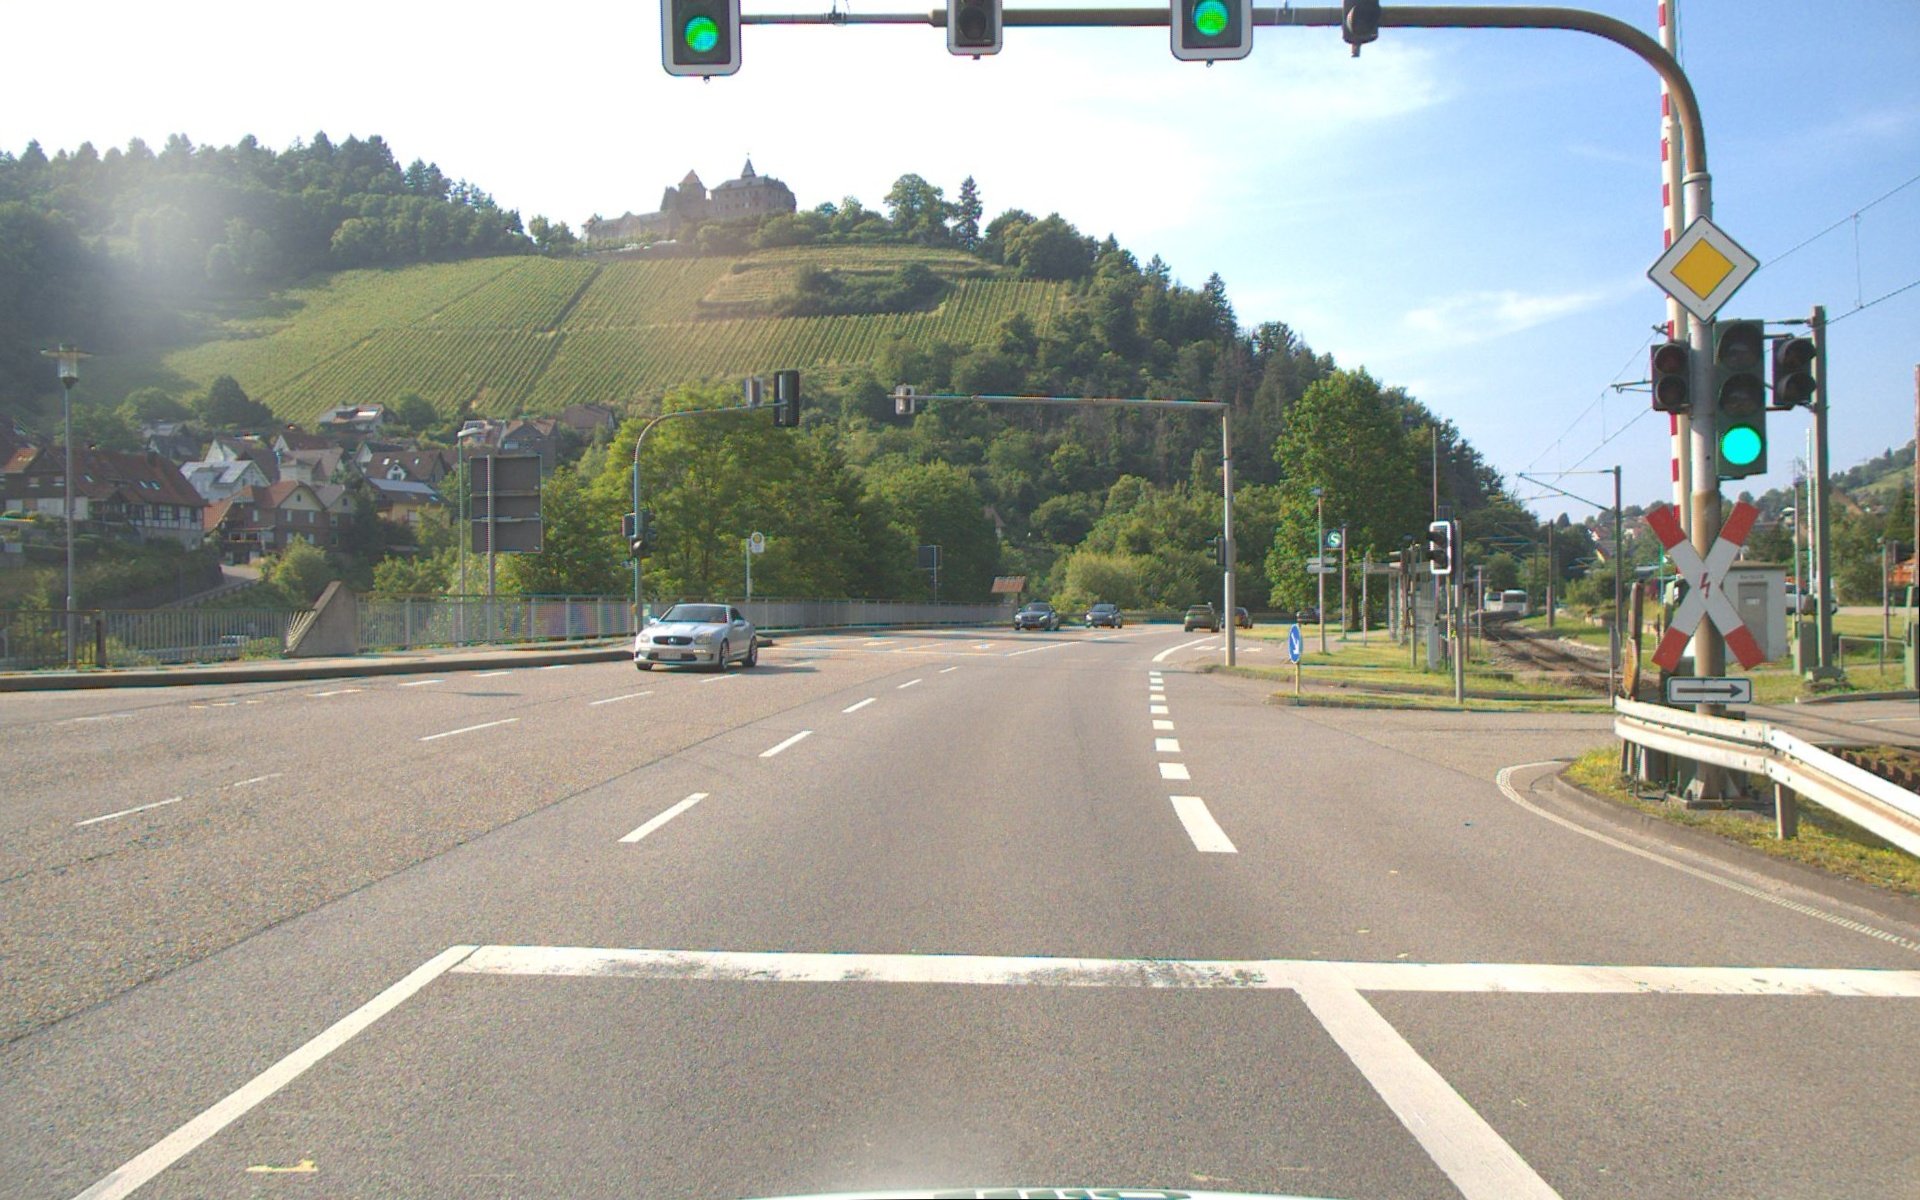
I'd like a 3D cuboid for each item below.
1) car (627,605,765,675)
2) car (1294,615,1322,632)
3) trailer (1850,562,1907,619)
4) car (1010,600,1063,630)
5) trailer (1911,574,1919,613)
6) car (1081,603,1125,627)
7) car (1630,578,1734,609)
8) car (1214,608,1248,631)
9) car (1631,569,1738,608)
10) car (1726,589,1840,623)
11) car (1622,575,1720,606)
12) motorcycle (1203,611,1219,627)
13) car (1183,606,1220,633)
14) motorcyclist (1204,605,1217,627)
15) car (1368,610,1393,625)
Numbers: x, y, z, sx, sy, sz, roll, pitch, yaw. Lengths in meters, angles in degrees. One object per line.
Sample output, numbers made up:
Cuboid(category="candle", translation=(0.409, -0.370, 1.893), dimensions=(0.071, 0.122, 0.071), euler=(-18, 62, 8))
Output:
Cuboid(category="car", translation=(-5.095, 0.740, 32.442), dimensions=(1.610, 1.253, 4.097), euler=(0, 0, 7))
Cuboid(category="car", translation=(30.741, 2.064, 146.022), dimensions=(1.770, 1.478, 3.646), euler=(-2, -1, 23))
Cuboid(category="trailer", translation=(66.415, -0.671, 119.522), dimensions=(2.563, 3.962, 7.703), euler=(-2, -1, 36))
Cuboid(category="car", translation=(3.959, 0.762, 84.809), dimensions=(1.733, 1.401, 4.647), euler=(2, 0, 15))
Cuboid(category="trailer", translation=(56.683, -0.429, 94.725), dimensions=(3.630, 2.228, 1.811), euler=(-2, -1, 36))
Cuboid(category="car", translation=(8.906, 0.923, 102.907), dimensions=(1.747, 1.505, 4.756), euler=(0, 0, 17))
Cuboid(category="car", translation=(38.343, -0.347, 88.013), dimensions=(4.846, 1.615, 2.142), euler=(0, 0, 17))
Cuboid(category="car", translation=(18.576, 1.312, 113.302), dimensions=(1.801, 1.485, 3.715), euler=(-2, -1, 17))
Cuboid(category="car", translation=(37.506, -0.590, 85.756), dimensions=(4.846, 1.977, 2.142), euler=(0, 0, 17))
Cuboid(category="car", translation=(34.315, 0.244, 69.089), dimensions=(4.010, 1.422, 1.810), euler=(0, 0, 17))
Cuboid(category="car", translation=(39.868, -0.523, 92.873), dimensions=(4.846, 1.720, 1.937), euler=(0, 0, 17))
Cuboid(category="motorcycle", translation=(20.939, 1.596, 138.067), dimensions=(0.952, 1.242, 2.573), euler=(1, 0, 17))
Cuboid(category="car", translation=(13.719, 1.111, 93.783), dimensions=(1.691, 1.482, 3.413), euler=(-2, -1, 14))
Cuboid(category="motorcyclist", translation=(20.900, 1.297, 137.990), dimensions=(0.827, 1.815, 1.172), euler=(1, 0, 18))
Cuboid(category="car", translation=(42.691, 1.787, 167.859), dimensions=(1.773, 1.433, 3.770), euler=(-2, -1, 26))
